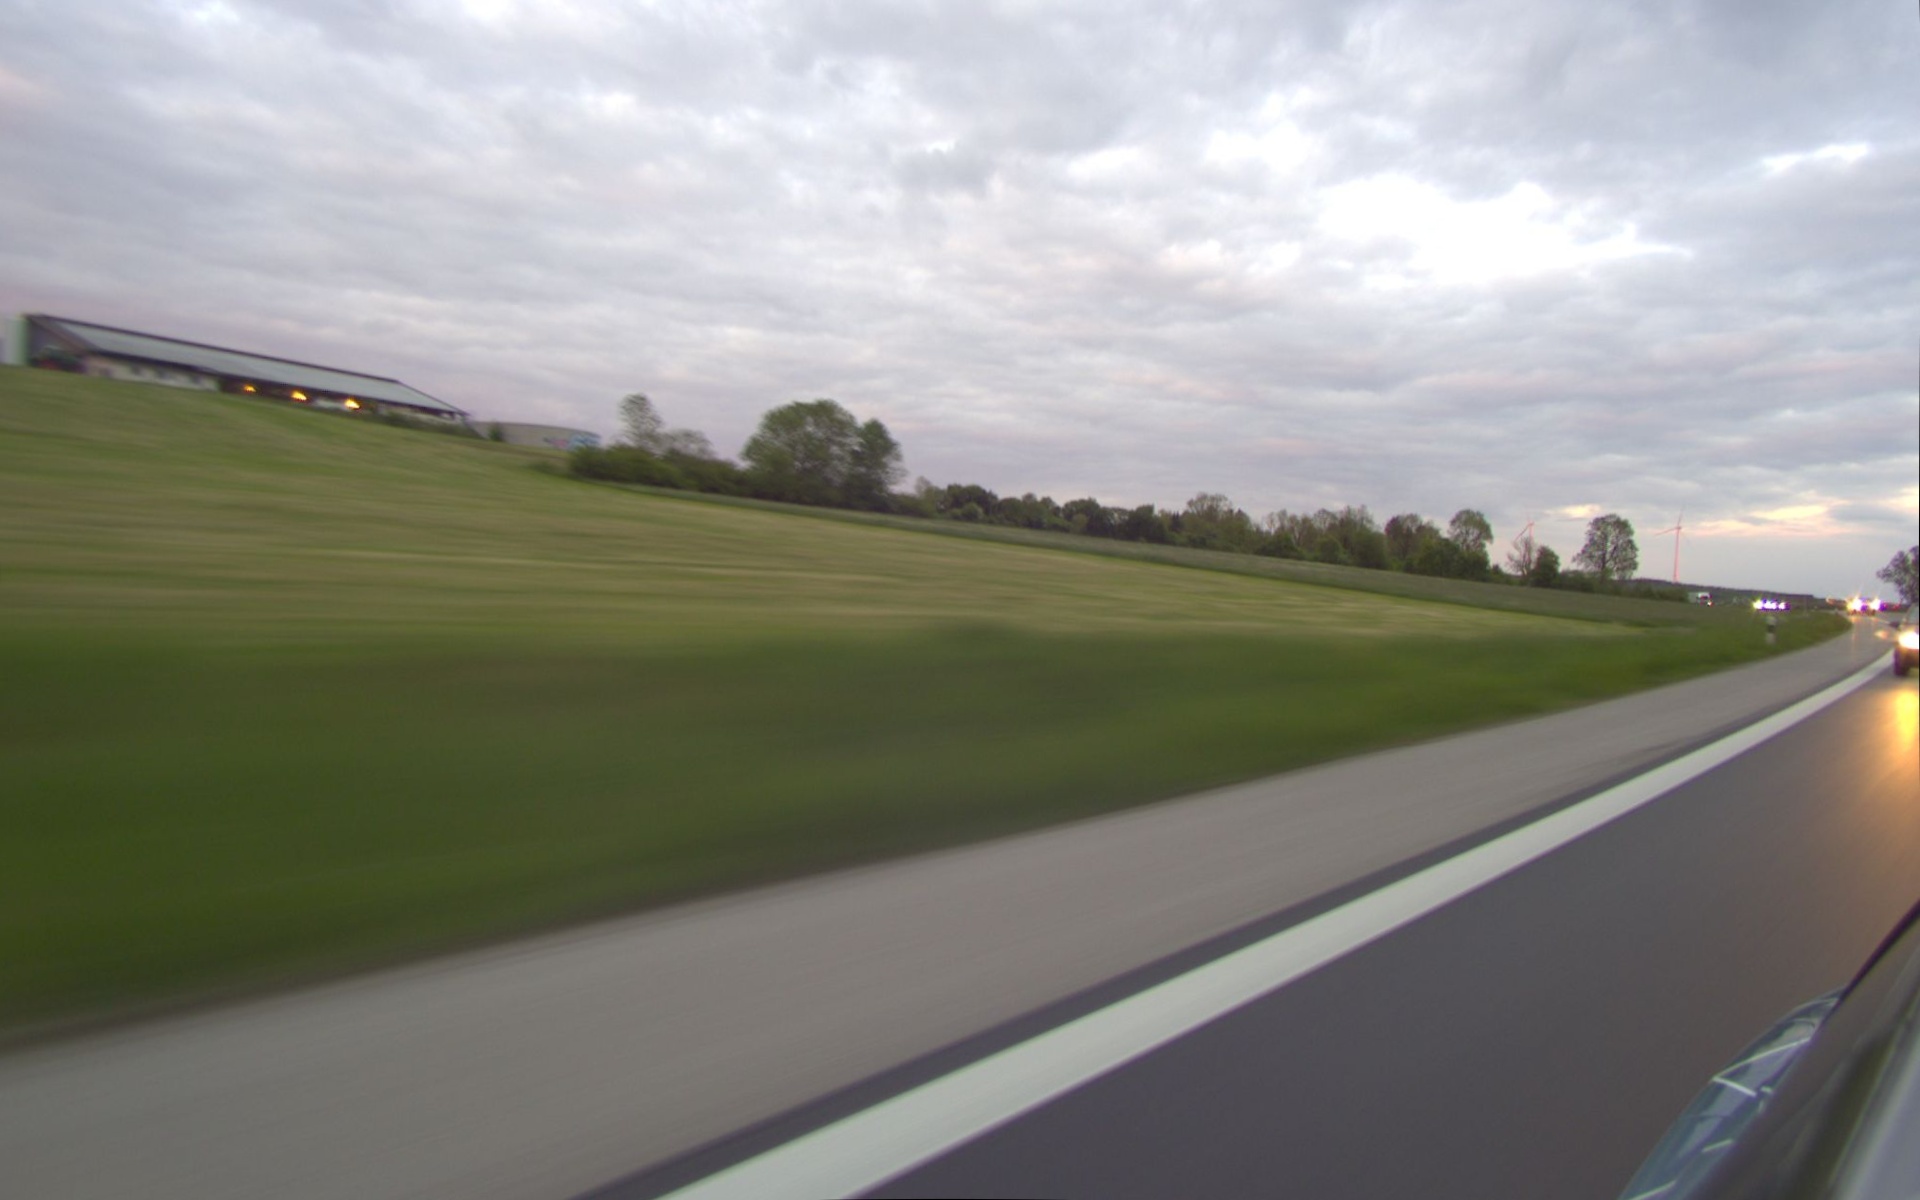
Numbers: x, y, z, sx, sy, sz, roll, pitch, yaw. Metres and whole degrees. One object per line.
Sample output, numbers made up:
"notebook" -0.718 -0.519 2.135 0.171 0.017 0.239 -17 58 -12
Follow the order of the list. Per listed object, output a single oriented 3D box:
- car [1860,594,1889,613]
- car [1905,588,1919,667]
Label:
"car" 92.945 0.313 102.920 1.912 1.860 3.943 3 2 39
"car" 20.392 0.534 20.525 3.935 1.532 1.678 0 0 -45
